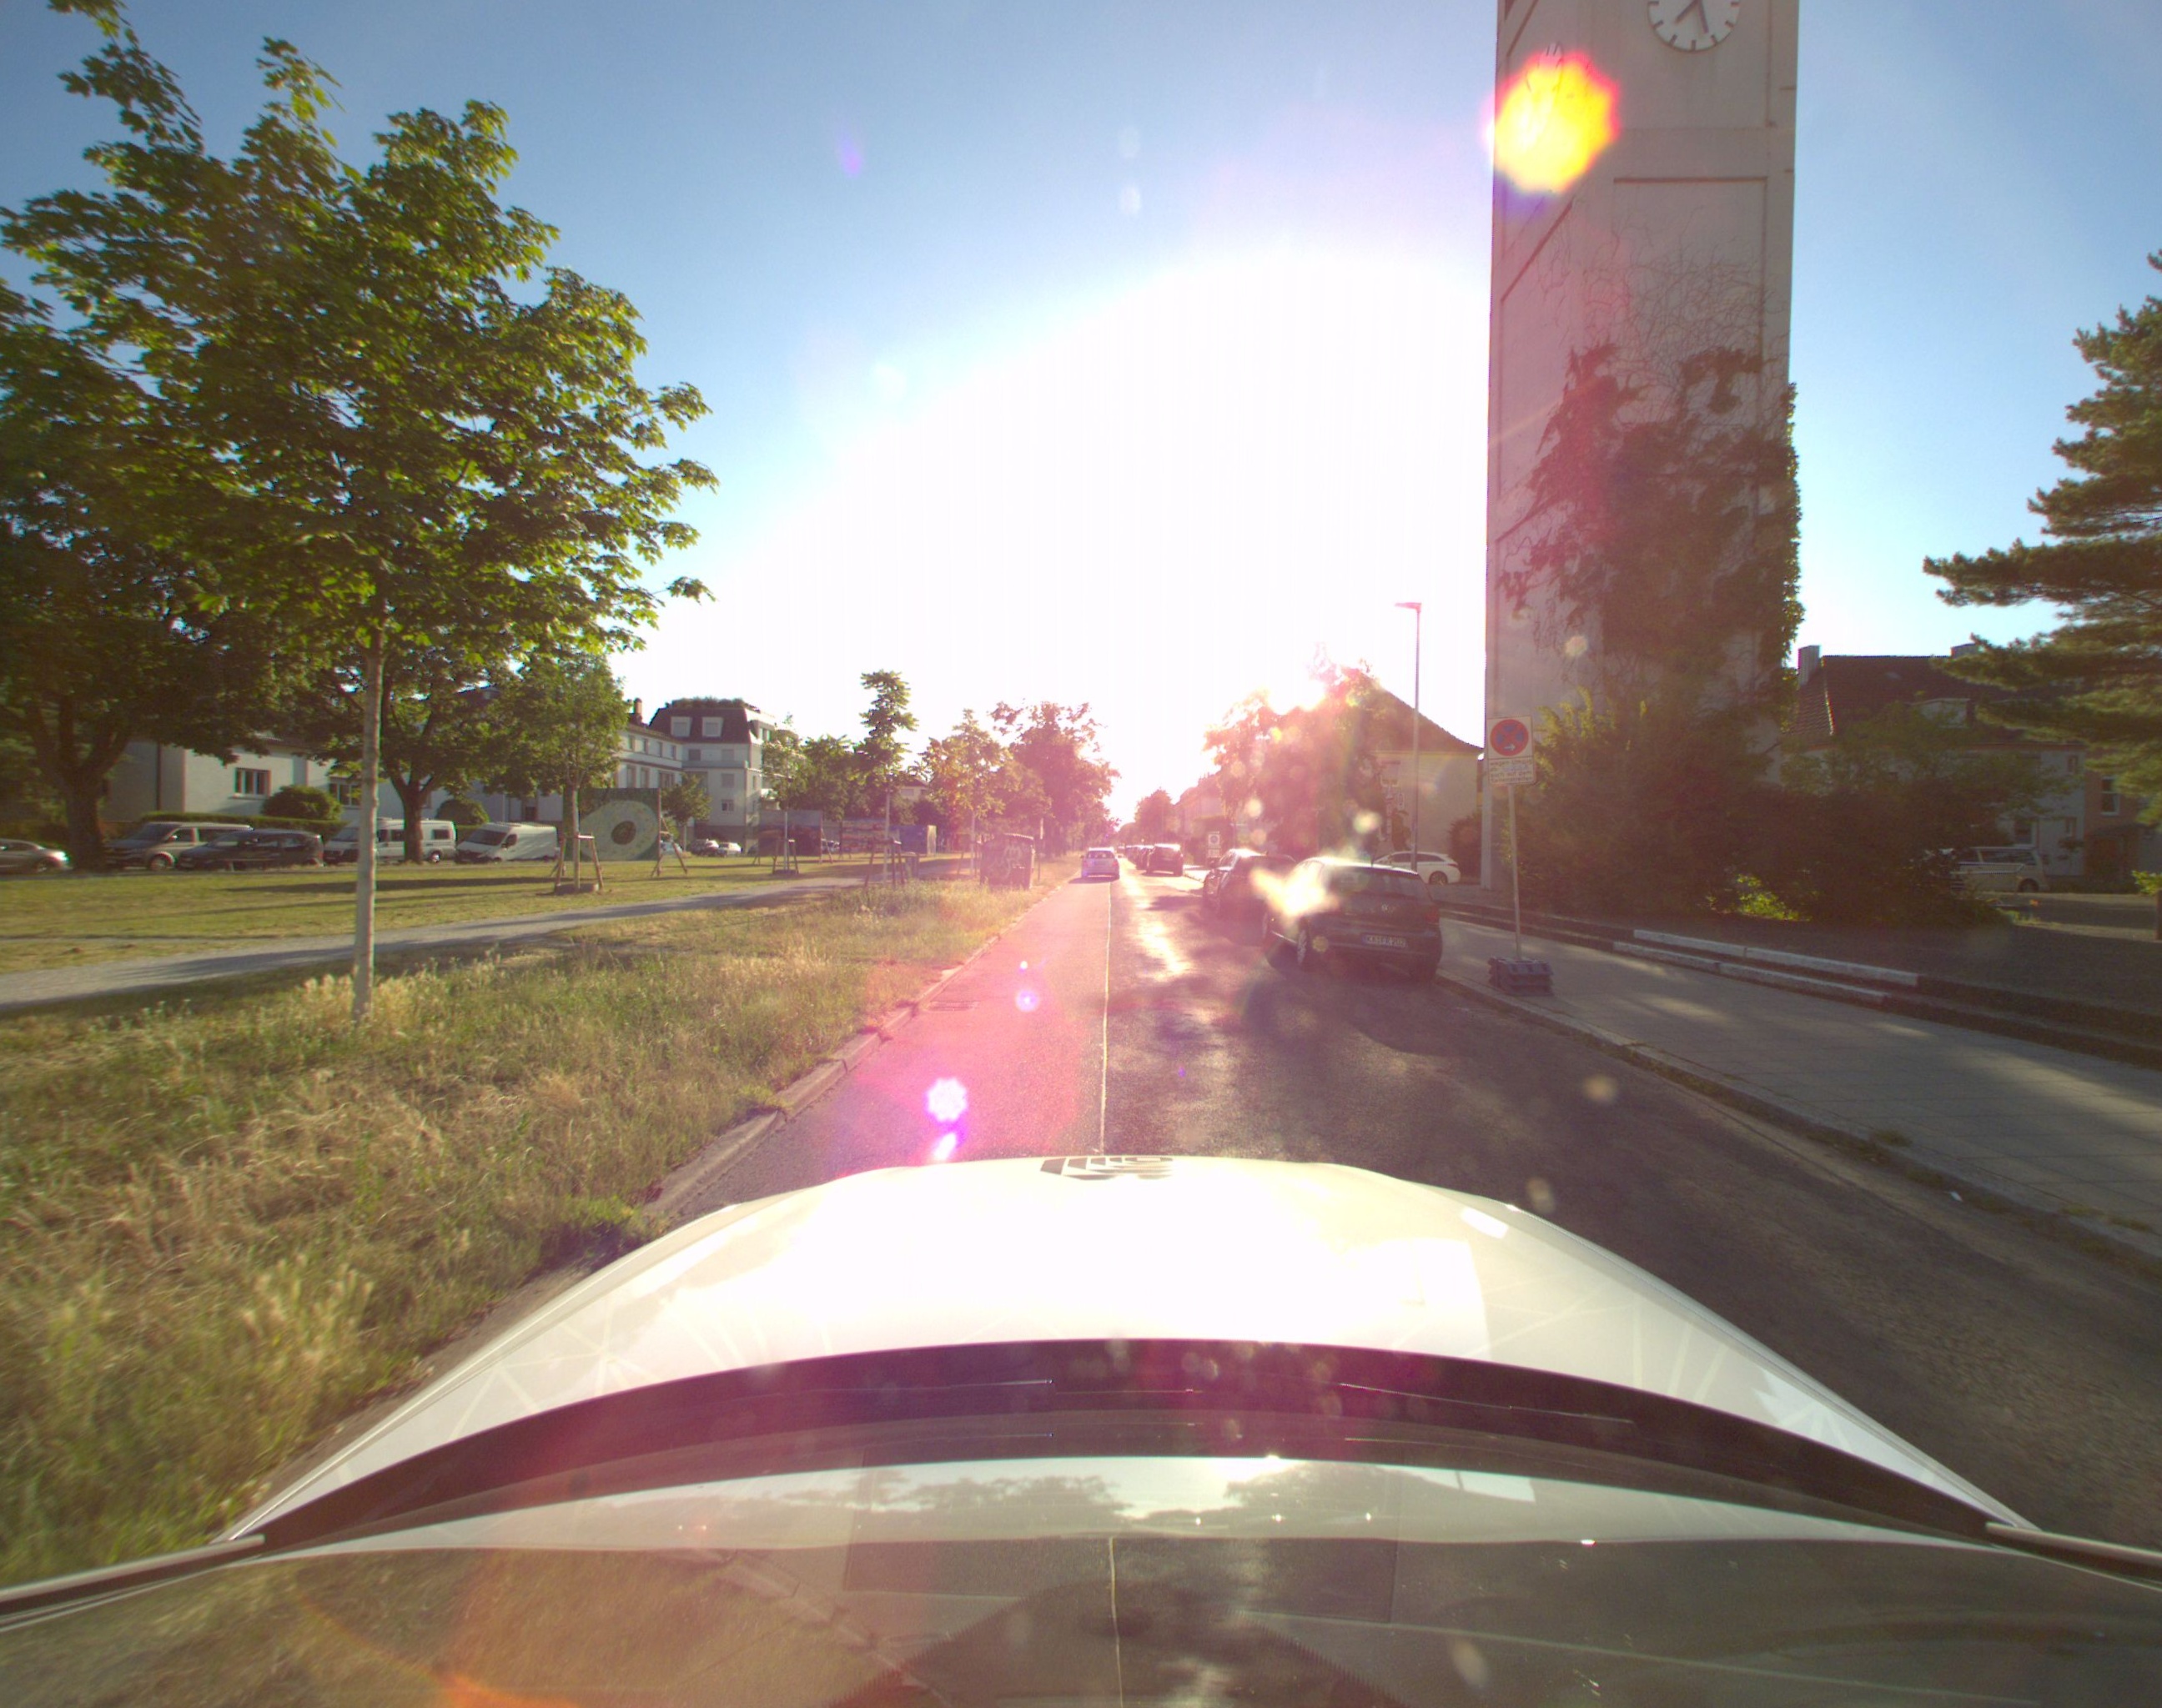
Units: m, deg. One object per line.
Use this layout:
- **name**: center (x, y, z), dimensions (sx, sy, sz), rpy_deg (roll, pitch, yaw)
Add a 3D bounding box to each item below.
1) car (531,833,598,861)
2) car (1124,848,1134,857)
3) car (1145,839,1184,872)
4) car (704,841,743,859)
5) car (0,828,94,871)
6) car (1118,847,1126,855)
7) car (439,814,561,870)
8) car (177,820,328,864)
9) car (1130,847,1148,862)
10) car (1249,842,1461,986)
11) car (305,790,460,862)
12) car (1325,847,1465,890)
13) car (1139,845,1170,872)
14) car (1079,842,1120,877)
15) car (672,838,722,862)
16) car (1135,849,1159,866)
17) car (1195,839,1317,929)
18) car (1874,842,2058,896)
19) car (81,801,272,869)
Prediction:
- **car**: center (-37.469, -0.468, 59.227), dimensions (1.723, 1.854, 4.716), rpy_deg (-2, -1, 2)
- **car**: center (8.563, -0.228, 145.045), dimensions (1.714, 1.597, 4.002), rpy_deg (1, -1, 3)
- **car**: center (4.751, 0.093, 46.863), dimensions (1.826, 1.732, 5.034), rpy_deg (3, 0, 2)
- **car**: center (-36.686, -0.404, 83.630), dimensions (1.814, 1.744, 4.463), rpy_deg (-3, -1, 3)
- **car**: center (-38.759, -0.148, 28.780), dimensions (1.983, 1.403, 4.569), rpy_deg (-3, -1, 6)
- **car**: center (10.145, -0.778, 203.272), dimensions (1.980, 2.023, 4.003), rpy_deg (1, 0, 3)
- **car**: center (-32.032, -0.602, 45.199), dimensions (2.251, 2.826, 5.875), rpy_deg (-2, -1, 3)
- **car**: center (-32.192, -0.440, 31.849), dimensions (1.409, 1.564, 4.311), rpy_deg (1, 0, 1)
- **car**: center (6.436, 0.080, 90.962), dimensions (1.770, 1.643, 4.758), rpy_deg (1, 0, 2)
- **car**: center (3.656, 0.679, 11.681), dimensions (1.681, 1.527, 4.178), rpy_deg (5, 1, 2)
- **car**: center (-37.828, -1.376, 44.473), dimensions (2.294, 3.559, 6.769), rpy_deg (-2, -1, 2)
- **car**: center (12.462, 0.601, 32.552), dimensions (4.829, 1.486, 2.003), rpy_deg (2, -3, 1)
- **car**: center (5.250, 0.275, 58.630), dimensions (1.926, 1.720, 4.623), rpy_deg (4, 1, 2)
- **car**: center (0.933, 0.231, 38.140), dimensions (1.816, 1.566, 4.003), rpy_deg (0, 1, 3)
- **car**: center (-36.977, -0.368, 78.669), dimensions (2.228, 2.131, 4.858), rpy_deg (-3, -1, 3)
- **car**: center (6.020, 0.277, 74.538), dimensions (1.985, 1.462, 4.566), rpy_deg (3, 0, 3)
- **car**: center (3.786, 0.573, 18.392), dimensions (1.815, 1.561, 4.625), rpy_deg (7, 1, 3)
- **car**: center (34.701, 0.629, 32.039), dimensions (4.989, 1.973, 2.172), rpy_deg (1, -3, -2)
- **car**: center (-38.336, -0.707, 34.789), dimensions (2.128, 2.604, 5.325), rpy_deg (-2, -1, 0)
